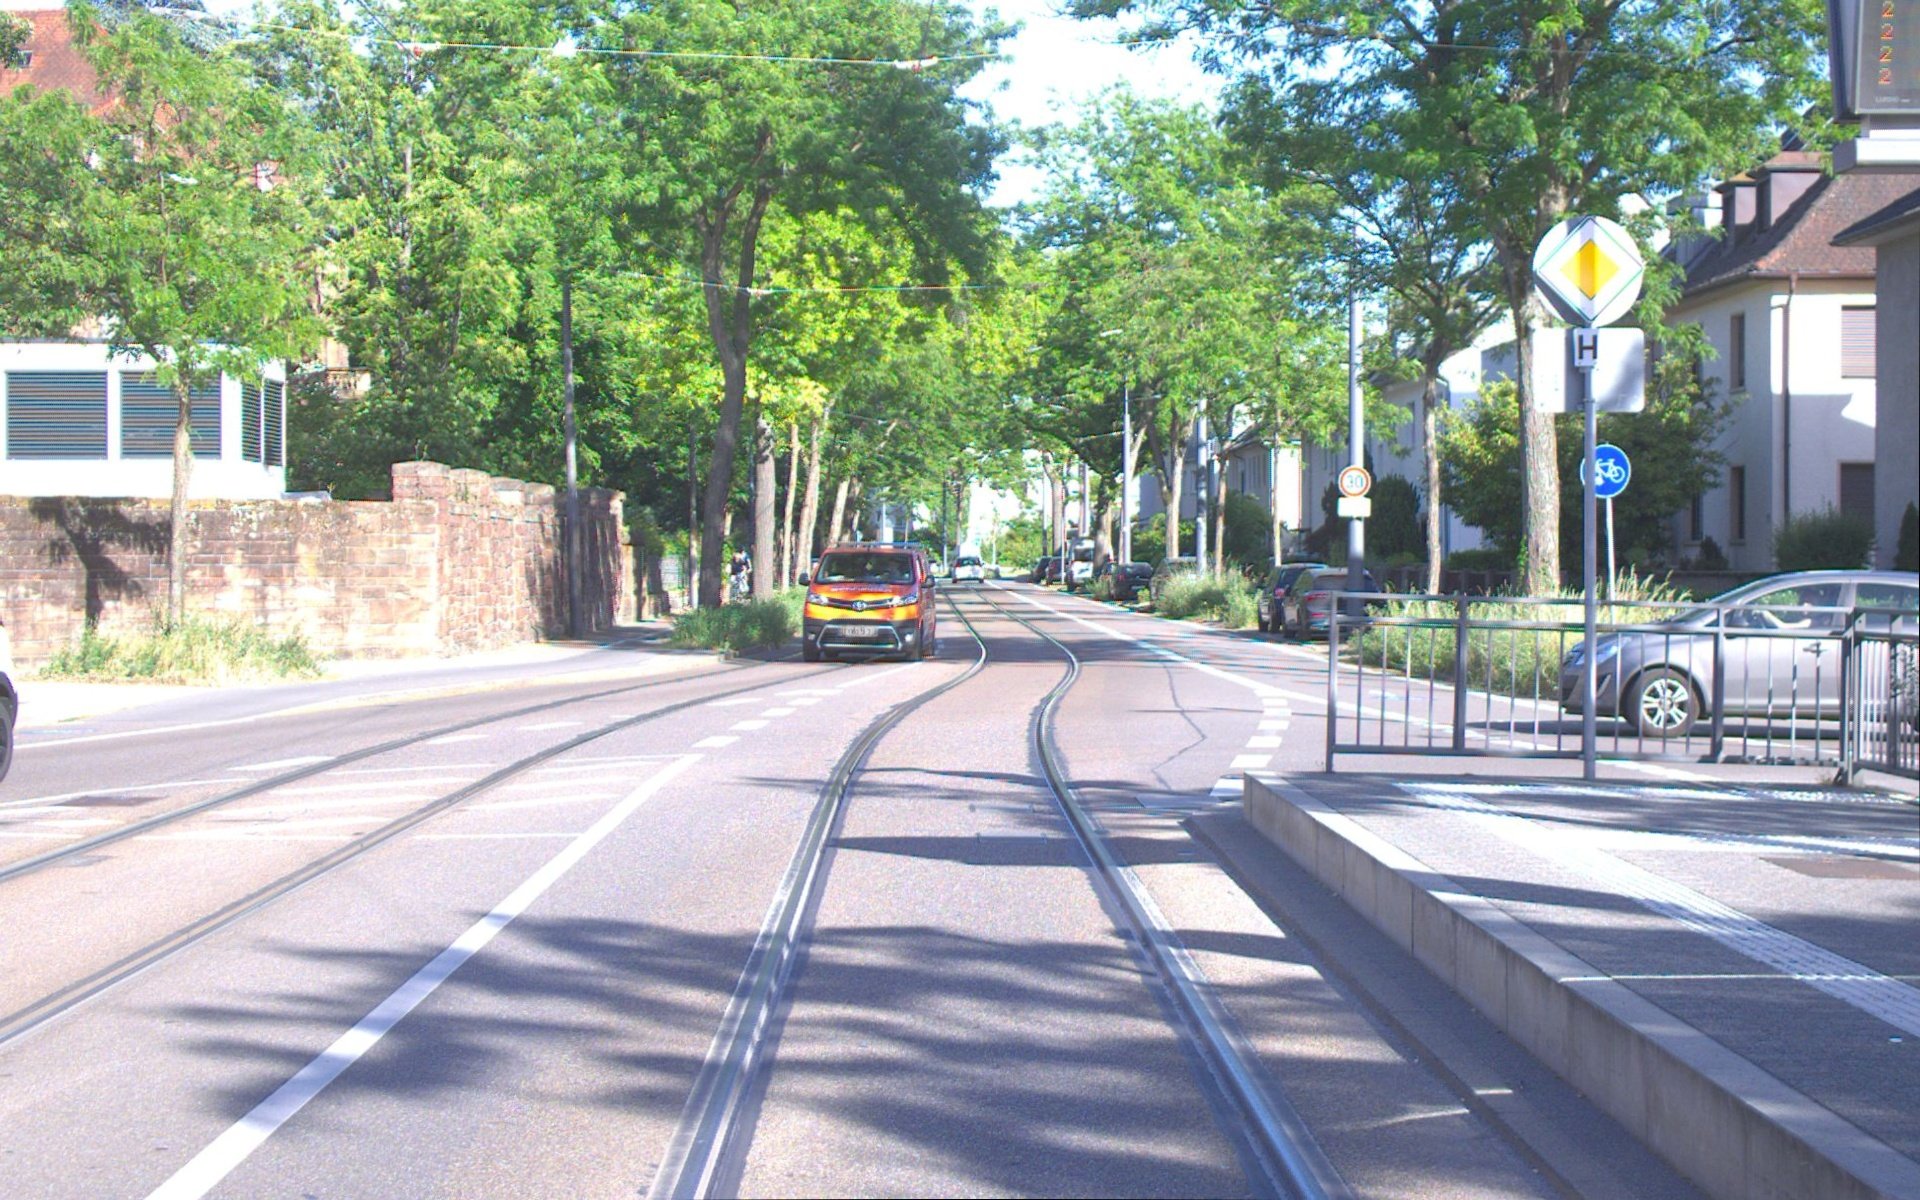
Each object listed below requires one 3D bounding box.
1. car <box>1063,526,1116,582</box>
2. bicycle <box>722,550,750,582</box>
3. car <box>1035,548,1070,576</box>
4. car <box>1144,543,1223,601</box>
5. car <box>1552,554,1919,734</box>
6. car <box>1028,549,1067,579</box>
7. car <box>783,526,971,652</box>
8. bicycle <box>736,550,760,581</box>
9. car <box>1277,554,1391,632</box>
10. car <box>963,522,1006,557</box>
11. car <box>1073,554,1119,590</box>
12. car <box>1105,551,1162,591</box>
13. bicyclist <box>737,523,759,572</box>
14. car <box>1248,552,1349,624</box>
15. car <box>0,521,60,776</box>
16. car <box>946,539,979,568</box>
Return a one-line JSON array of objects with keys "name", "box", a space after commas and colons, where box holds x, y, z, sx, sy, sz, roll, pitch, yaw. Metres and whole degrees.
[{"name": "car", "box": [6.196, -2.210, 165.332, 2.245, 2.645, 5.585, 0, 1, -1]}, {"name": "bicycle", "box": [-6.788, -1.026, 104.267, 0.711, 0.957, 2.094, 0, 1, 0]}, {"name": "car", "box": [5.779, -2.384, 214.981, 2.003, 1.669, 4.392, -2, 1, 3]}, {"name": "car", "box": [6.976, -0.890, 107.626, 1.993, 1.698, 4.478, -3, 1, -1]}, {"name": "car", "box": [7.250, 0.364, 30.252, 3.988, 1.503, 1.981, 1, 1, 9]}, {"name": "car", "box": [5.027, -2.071, 197.449, 2.003, 1.669, 4.392, -2, 1, -1]}, {"name": "car", "box": [-1.287, -0.205, 56.040, 1.994, 1.959, 4.931, 0, 1, 12]}, {"name": "bicycle", "box": [-6.673, -1.082, 108.217, 0.589, 0.957, 2.132, 0, 1, 0]}, {"name": "car", "box": [7.499, -0.174, 69.234, 1.748, 1.490, 4.443, -1, 1, -1]}, {"name": "car", "box": [1.696, -4.253, 243.337, 1.993, 2.450, 4.510, -1, 1, -13]}, {"name": "car", "box": [5.677, -1.189, 143.841, 1.627, 1.393, 3.646, -3, 1, -1]}, {"name": "car", "box": [6.757, -1.132, 133.988, 1.784, 1.443, 4.301, -3, 1, -2]}, {"name": "bicyclist", "box": [-6.670, -1.662, 108.261, 0.593, 1.522, 1.061, 0, 1, 0]}, {"name": "car", "box": [7.386, -0.283, 75.205, 1.748, 1.490, 3.997, -1, 1, -1]}, {"name": "car", "box": [-7.417, 0.337, 21.276, 1.766, 1.658, 4.207, 0, 1, 14]}, {"name": "car", "box": [0.134, -2.769, 203.292, 1.866, 1.669, 4.173, -1, 1, 1]}]
